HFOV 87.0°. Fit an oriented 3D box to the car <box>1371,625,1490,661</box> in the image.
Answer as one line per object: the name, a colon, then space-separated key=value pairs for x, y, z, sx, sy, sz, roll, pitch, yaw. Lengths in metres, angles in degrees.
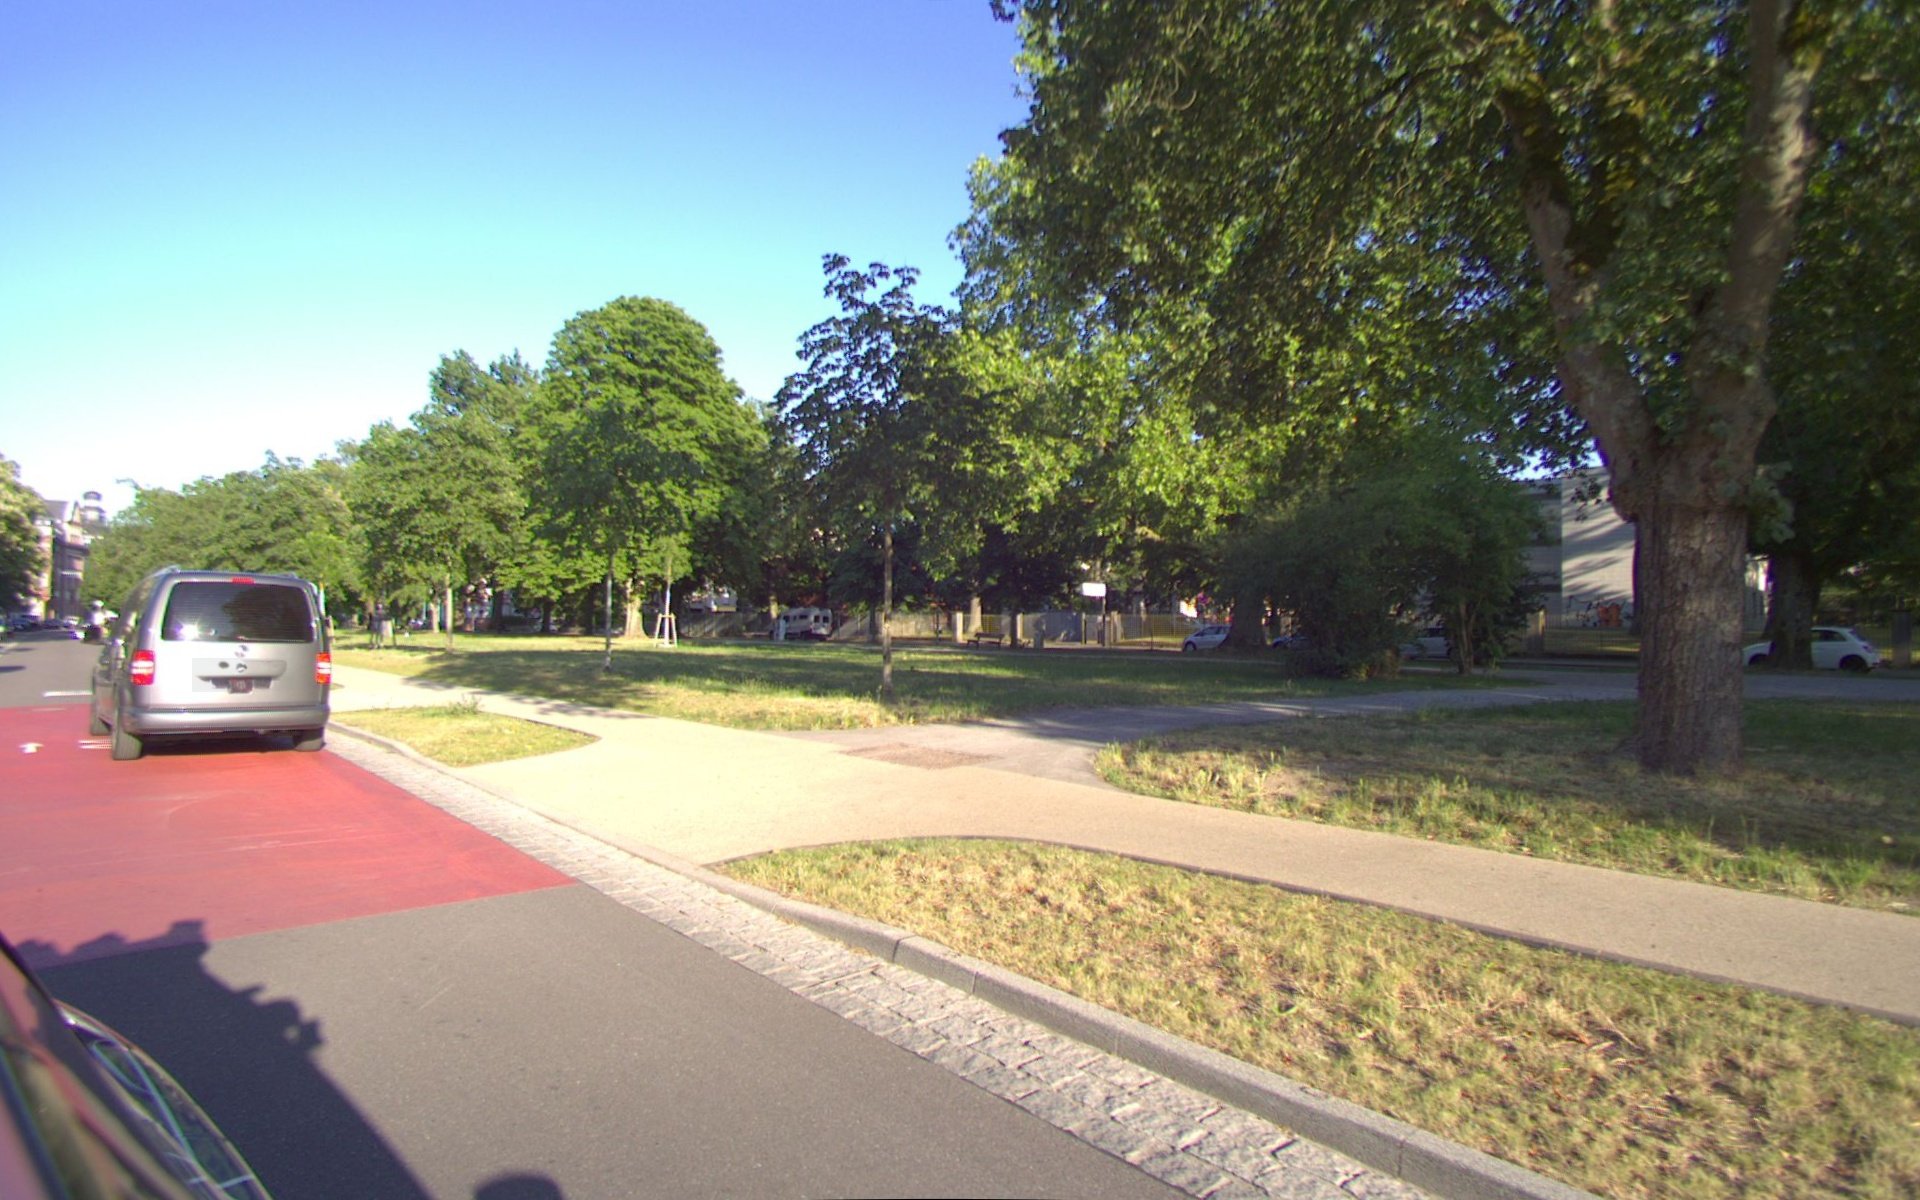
car: x=18.995 y=1.730 z=41.016 sx=1.504 sy=1.378 sz=4.112 roll=1 pitch=-2 yaw=-42

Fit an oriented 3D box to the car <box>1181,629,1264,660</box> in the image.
car: x=12.546 y=2.104 z=48.504 sx=1.504 sy=1.378 sz=3.653 roll=1 pitch=-2 yaw=-42

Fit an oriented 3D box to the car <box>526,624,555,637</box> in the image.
car: x=-47.978 y=3.492 z=115.656 sx=1.770 sy=1.475 sz=4.004 roll=1 pitch=-2 yaw=-43

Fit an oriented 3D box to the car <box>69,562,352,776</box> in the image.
car: x=-8.360 y=0.659 z=11.106 sx=1.822 sy=1.861 sz=4.576 roll=4 pitch=-3 yaw=-44

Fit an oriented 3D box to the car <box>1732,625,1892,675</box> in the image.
car: x=27.046 y=1.537 z=32.212 sx=1.580 sy=1.475 sz=3.669 roll=1 pitch=-1 yaw=-40

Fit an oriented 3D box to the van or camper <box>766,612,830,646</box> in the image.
van or camper: x=-12.202 y=2.210 z=75.992 sx=1.970 sy=2.458 sz=5.471 roll=3 pitch=-3 yaw=-44

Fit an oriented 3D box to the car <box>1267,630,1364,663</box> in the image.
car: x=15.713 y=2.014 z=44.903 sx=1.504 sy=1.378 sz=3.797 roll=1 pitch=-2 yaw=-42
